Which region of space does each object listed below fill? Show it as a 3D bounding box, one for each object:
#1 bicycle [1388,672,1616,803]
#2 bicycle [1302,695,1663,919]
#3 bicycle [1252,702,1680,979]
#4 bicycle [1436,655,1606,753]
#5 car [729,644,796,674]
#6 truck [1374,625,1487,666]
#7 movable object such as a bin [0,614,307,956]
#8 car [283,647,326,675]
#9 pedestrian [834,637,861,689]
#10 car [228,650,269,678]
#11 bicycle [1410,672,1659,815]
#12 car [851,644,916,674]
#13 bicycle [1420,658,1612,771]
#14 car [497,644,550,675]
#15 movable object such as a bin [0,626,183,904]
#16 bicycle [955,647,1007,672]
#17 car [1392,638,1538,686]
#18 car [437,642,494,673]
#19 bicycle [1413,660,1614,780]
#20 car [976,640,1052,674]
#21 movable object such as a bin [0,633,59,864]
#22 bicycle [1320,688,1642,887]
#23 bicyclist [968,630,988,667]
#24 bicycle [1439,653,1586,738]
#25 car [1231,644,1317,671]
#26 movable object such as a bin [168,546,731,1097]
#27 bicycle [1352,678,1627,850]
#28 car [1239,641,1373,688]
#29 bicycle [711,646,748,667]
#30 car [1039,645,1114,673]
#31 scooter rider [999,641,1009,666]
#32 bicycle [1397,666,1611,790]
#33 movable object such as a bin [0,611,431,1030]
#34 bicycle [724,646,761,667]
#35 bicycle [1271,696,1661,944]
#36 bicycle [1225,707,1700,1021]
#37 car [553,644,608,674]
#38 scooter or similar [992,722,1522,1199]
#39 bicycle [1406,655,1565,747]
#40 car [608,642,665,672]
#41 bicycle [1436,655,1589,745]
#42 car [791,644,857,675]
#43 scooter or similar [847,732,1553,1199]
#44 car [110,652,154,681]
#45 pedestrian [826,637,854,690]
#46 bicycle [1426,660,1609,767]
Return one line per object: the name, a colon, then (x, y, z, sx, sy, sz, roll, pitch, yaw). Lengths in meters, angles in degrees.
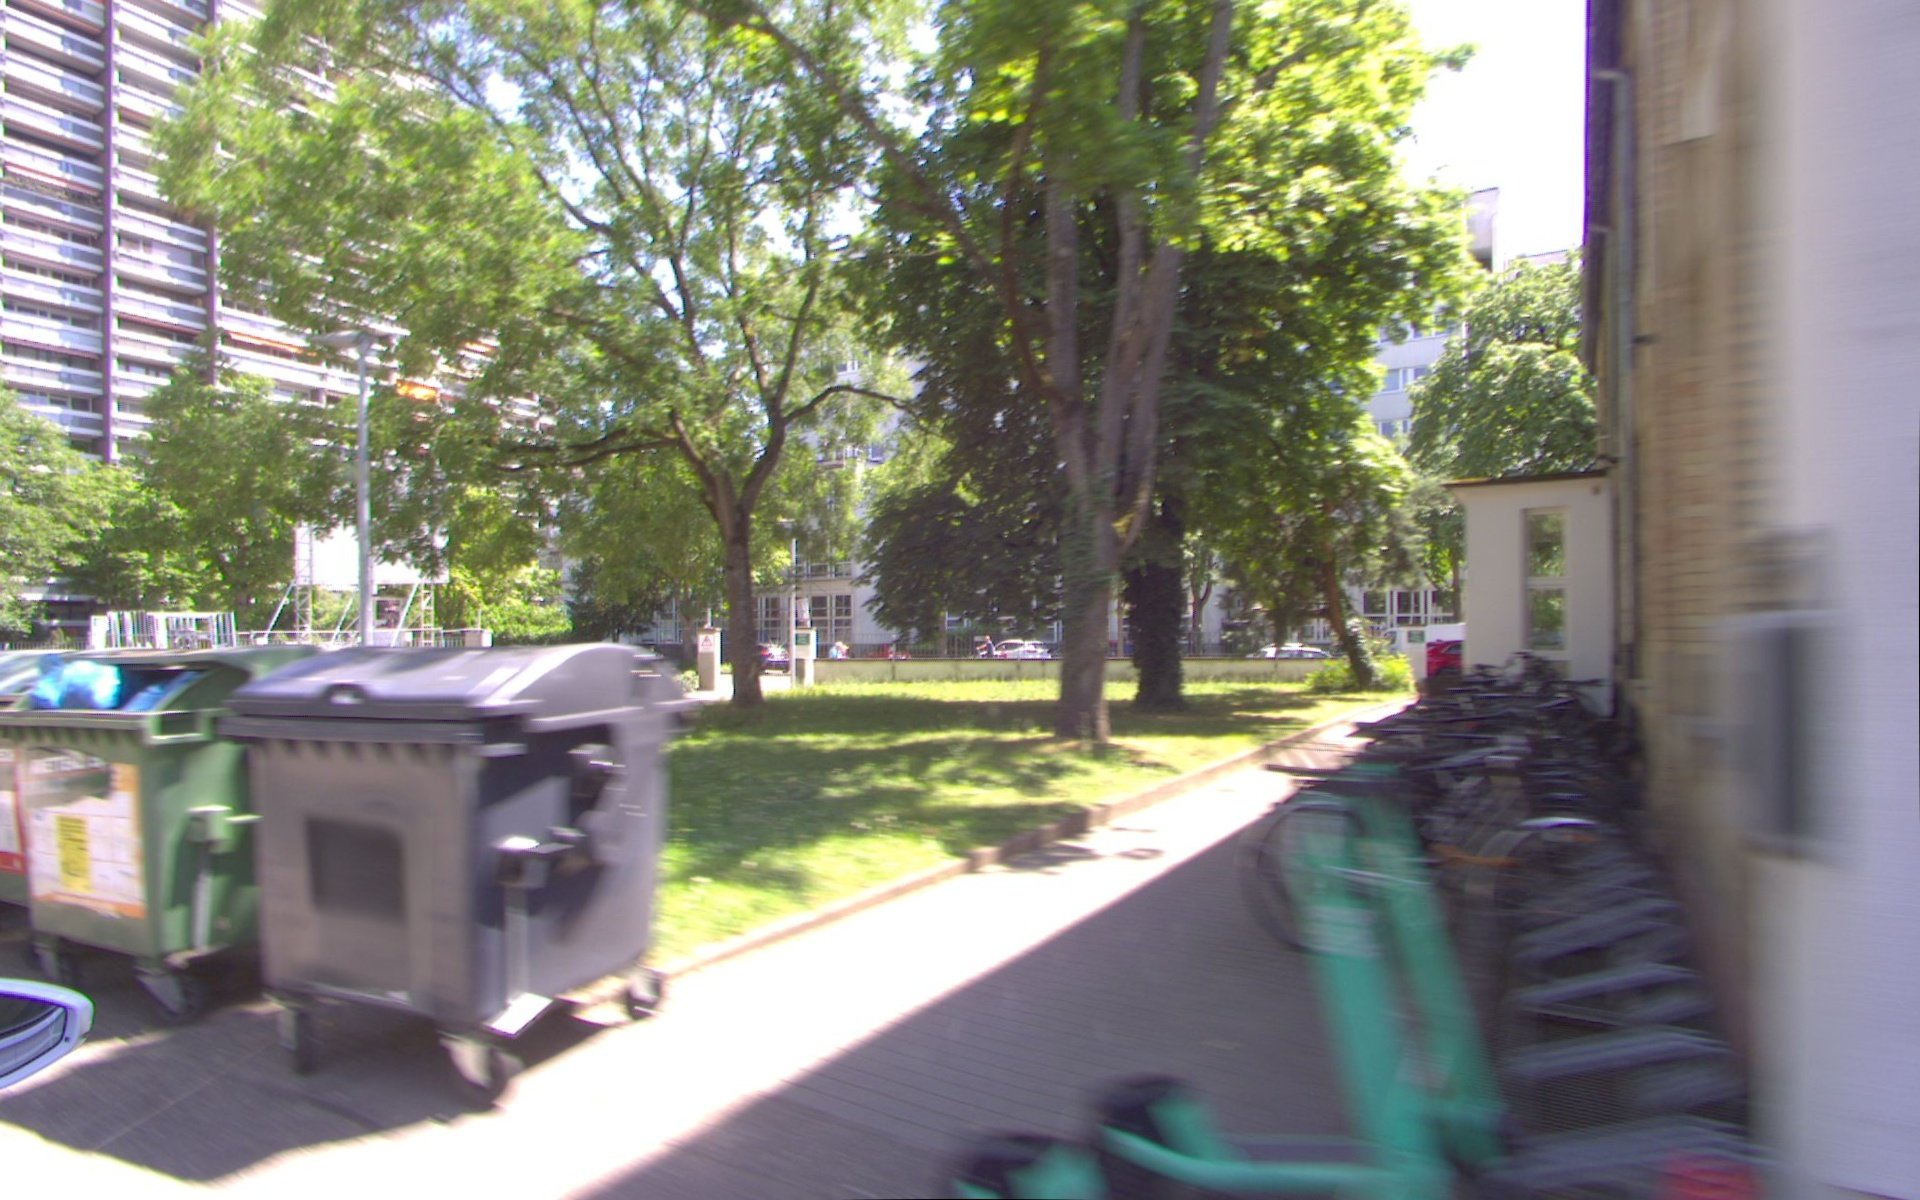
bicycle: (5.009, 1.233, 9.317, 1.810, 1.083, 0.520, -2, -2, 34)
bicycle: (3.003, 1.134, 5.879, 1.810, 1.081, 0.502, -2, -2, 34)
bicycle: (2.405, 1.088, 4.929, 1.810, 1.081, 0.452, -1, -2, 34)
bicycle: (7.048, 1.274, 12.617, 1.817, 1.157, 0.586, -2, -2, 34)
car: (-10.110, 3.009, 51.102, 1.629, 1.482, 3.644, 1, -3, -44)
truck: (22.396, 2.188, 47.804, 1.639, 1.855, 4.603, 1, -4, -43)
movable object such as a bin: (-4.386, 0.859, 5.221, 1.292, 1.488, 1.178, -2, -3, 28)
car: (-34.226, 3.180, 52.279, 1.619, 1.404, 3.652, 1, -3, -37)
pedestrian: (-3.586, 2.020, 31.929, 0.719, 1.608, 0.741, -1, -4, 7)
car: (-37.526, 3.361, 52.771, 1.619, 1.404, 3.652, 1, -3, -37)
bicycle: (4.753, 1.177, 8.340, 1.799, 1.117, 0.473, 0, -1, 1)
car: (-3.894, 2.972, 50.636, 1.593, 1.454, 3.577, 1, -3, -37)
bicycle: (6.172, 1.235, 11.165, 1.817, 1.157, 0.586, -2, -2, 34)
car: (-22.410, 3.049, 51.400, 1.620, 1.482, 3.650, 1, -3, -39)
movable object such as a bin: (-5.622, 0.924, 5.921, 1.291, 1.488, 1.179, -2, -3, 27)
bicycle: (0.977, 2.773, 46.799, 2.392, 1.166, 0.786, -1, -2, 0)
car: (16.456, 2.017, 32.780, 3.861, 1.482, 1.707, -1, -2, 4)
car: (-25.165, 2.907, 50.895, 1.622, 1.482, 3.644, 1, -3, -43)
bicycle: (5.842, 1.227, 10.622, 1.817, 1.157, 0.586, -2, -2, 34)
car: (2.675, 2.833, 49.840, 1.596, 1.640, 3.711, 1, -3, -43)
movable object such as a bin: (-6.910, 0.985, 6.722, 1.319, 1.488, 1.172, -3, -4, 43)
bicycle: (3.352, 1.152, 6.548, 1.810, 1.081, 0.502, -1, -2, 34)
bicyclist: (0.840, 2.269, 46.821, 0.883, 1.686, 0.859, -1, -2, 0)
bicycle: (8.014, 1.359, 14.561, 1.817, 1.157, 0.586, -2, -2, 34)
car: (15.411, 2.823, 49.248, 3.708, 1.307, 1.598, -3, -3, 45)
movable object such as a bin: (-1.771, 0.664, 3.611, 1.438, 1.524, 1.156, -2, -3, 23)
bicycle: (4.004, 1.191, 7.658, 1.810, 1.117, 0.520, -1, -2, 34)
car: (11.458, 2.140, 33.345, 3.861, 1.482, 1.707, -1, -2, 4)
bicycle: (-13.539, 3.305, 58.910, 0.771, 1.172, 2.376, -2, -3, 27)
car: (5.736, 2.921, 49.618, 1.593, 1.297, 3.718, 1, -3, -37)
scooter rider: (2.036, 2.448, 46.082, 0.409, 1.148, 0.359, -1, -2, 0)
bicycle: (5.392, 1.232, 9.986, 1.817, 1.114, 0.520, -2, -2, 34)
movable object such as a bin: (-3.289, 0.834, 4.400, 1.291, 1.488, 1.179, -2, -3, 26)
bicycle: (-12.689, 3.307, 58.442, 0.771, 1.202, 2.424, -2, -3, 27)
bicycle: (2.669, 1.100, 5.422, 1.810, 1.081, 0.502, -1, -2, 34)
bicycle: (2.136, 1.063, 4.449, 1.810, 1.081, 0.452, -1, -2, 34)
car: (-19.591, 3.045, 51.570, 1.620, 1.482, 3.650, 1, -3, -39)
scooter or similar: (0.745, 0.947, 2.688, 1.233, 1.188, 0.465, -1, -2, 15)
bicycle: (7.045, 1.319, 13.476, 1.819, 1.157, 0.585, -2, -2, 38)
car: (-16.613, 2.899, 51.327, 1.620, 1.482, 3.650, 1, -3, -39)
bicycle: (7.654, 1.355, 13.907, 1.817, 1.157, 0.586, -2, -2, 34)
car: (-6.893, 2.998, 50.650, 1.595, 1.463, 3.647, 1, -3, -41)
scooter or similar: (0.457, 0.915, 2.136, 1.335, 1.188, 0.464, -2, -2, 24)
car: (-43.291, 3.459, 52.411, 1.619, 1.404, 3.652, 1, -3, -37)
pedestrian: (-3.700, 1.981, 30.980, 0.718, 1.608, 0.742, -1, -4, 5)
bicycle: (6.500, 1.285, 11.721, 1.817, 1.157, 0.586, -2, -2, 34)
